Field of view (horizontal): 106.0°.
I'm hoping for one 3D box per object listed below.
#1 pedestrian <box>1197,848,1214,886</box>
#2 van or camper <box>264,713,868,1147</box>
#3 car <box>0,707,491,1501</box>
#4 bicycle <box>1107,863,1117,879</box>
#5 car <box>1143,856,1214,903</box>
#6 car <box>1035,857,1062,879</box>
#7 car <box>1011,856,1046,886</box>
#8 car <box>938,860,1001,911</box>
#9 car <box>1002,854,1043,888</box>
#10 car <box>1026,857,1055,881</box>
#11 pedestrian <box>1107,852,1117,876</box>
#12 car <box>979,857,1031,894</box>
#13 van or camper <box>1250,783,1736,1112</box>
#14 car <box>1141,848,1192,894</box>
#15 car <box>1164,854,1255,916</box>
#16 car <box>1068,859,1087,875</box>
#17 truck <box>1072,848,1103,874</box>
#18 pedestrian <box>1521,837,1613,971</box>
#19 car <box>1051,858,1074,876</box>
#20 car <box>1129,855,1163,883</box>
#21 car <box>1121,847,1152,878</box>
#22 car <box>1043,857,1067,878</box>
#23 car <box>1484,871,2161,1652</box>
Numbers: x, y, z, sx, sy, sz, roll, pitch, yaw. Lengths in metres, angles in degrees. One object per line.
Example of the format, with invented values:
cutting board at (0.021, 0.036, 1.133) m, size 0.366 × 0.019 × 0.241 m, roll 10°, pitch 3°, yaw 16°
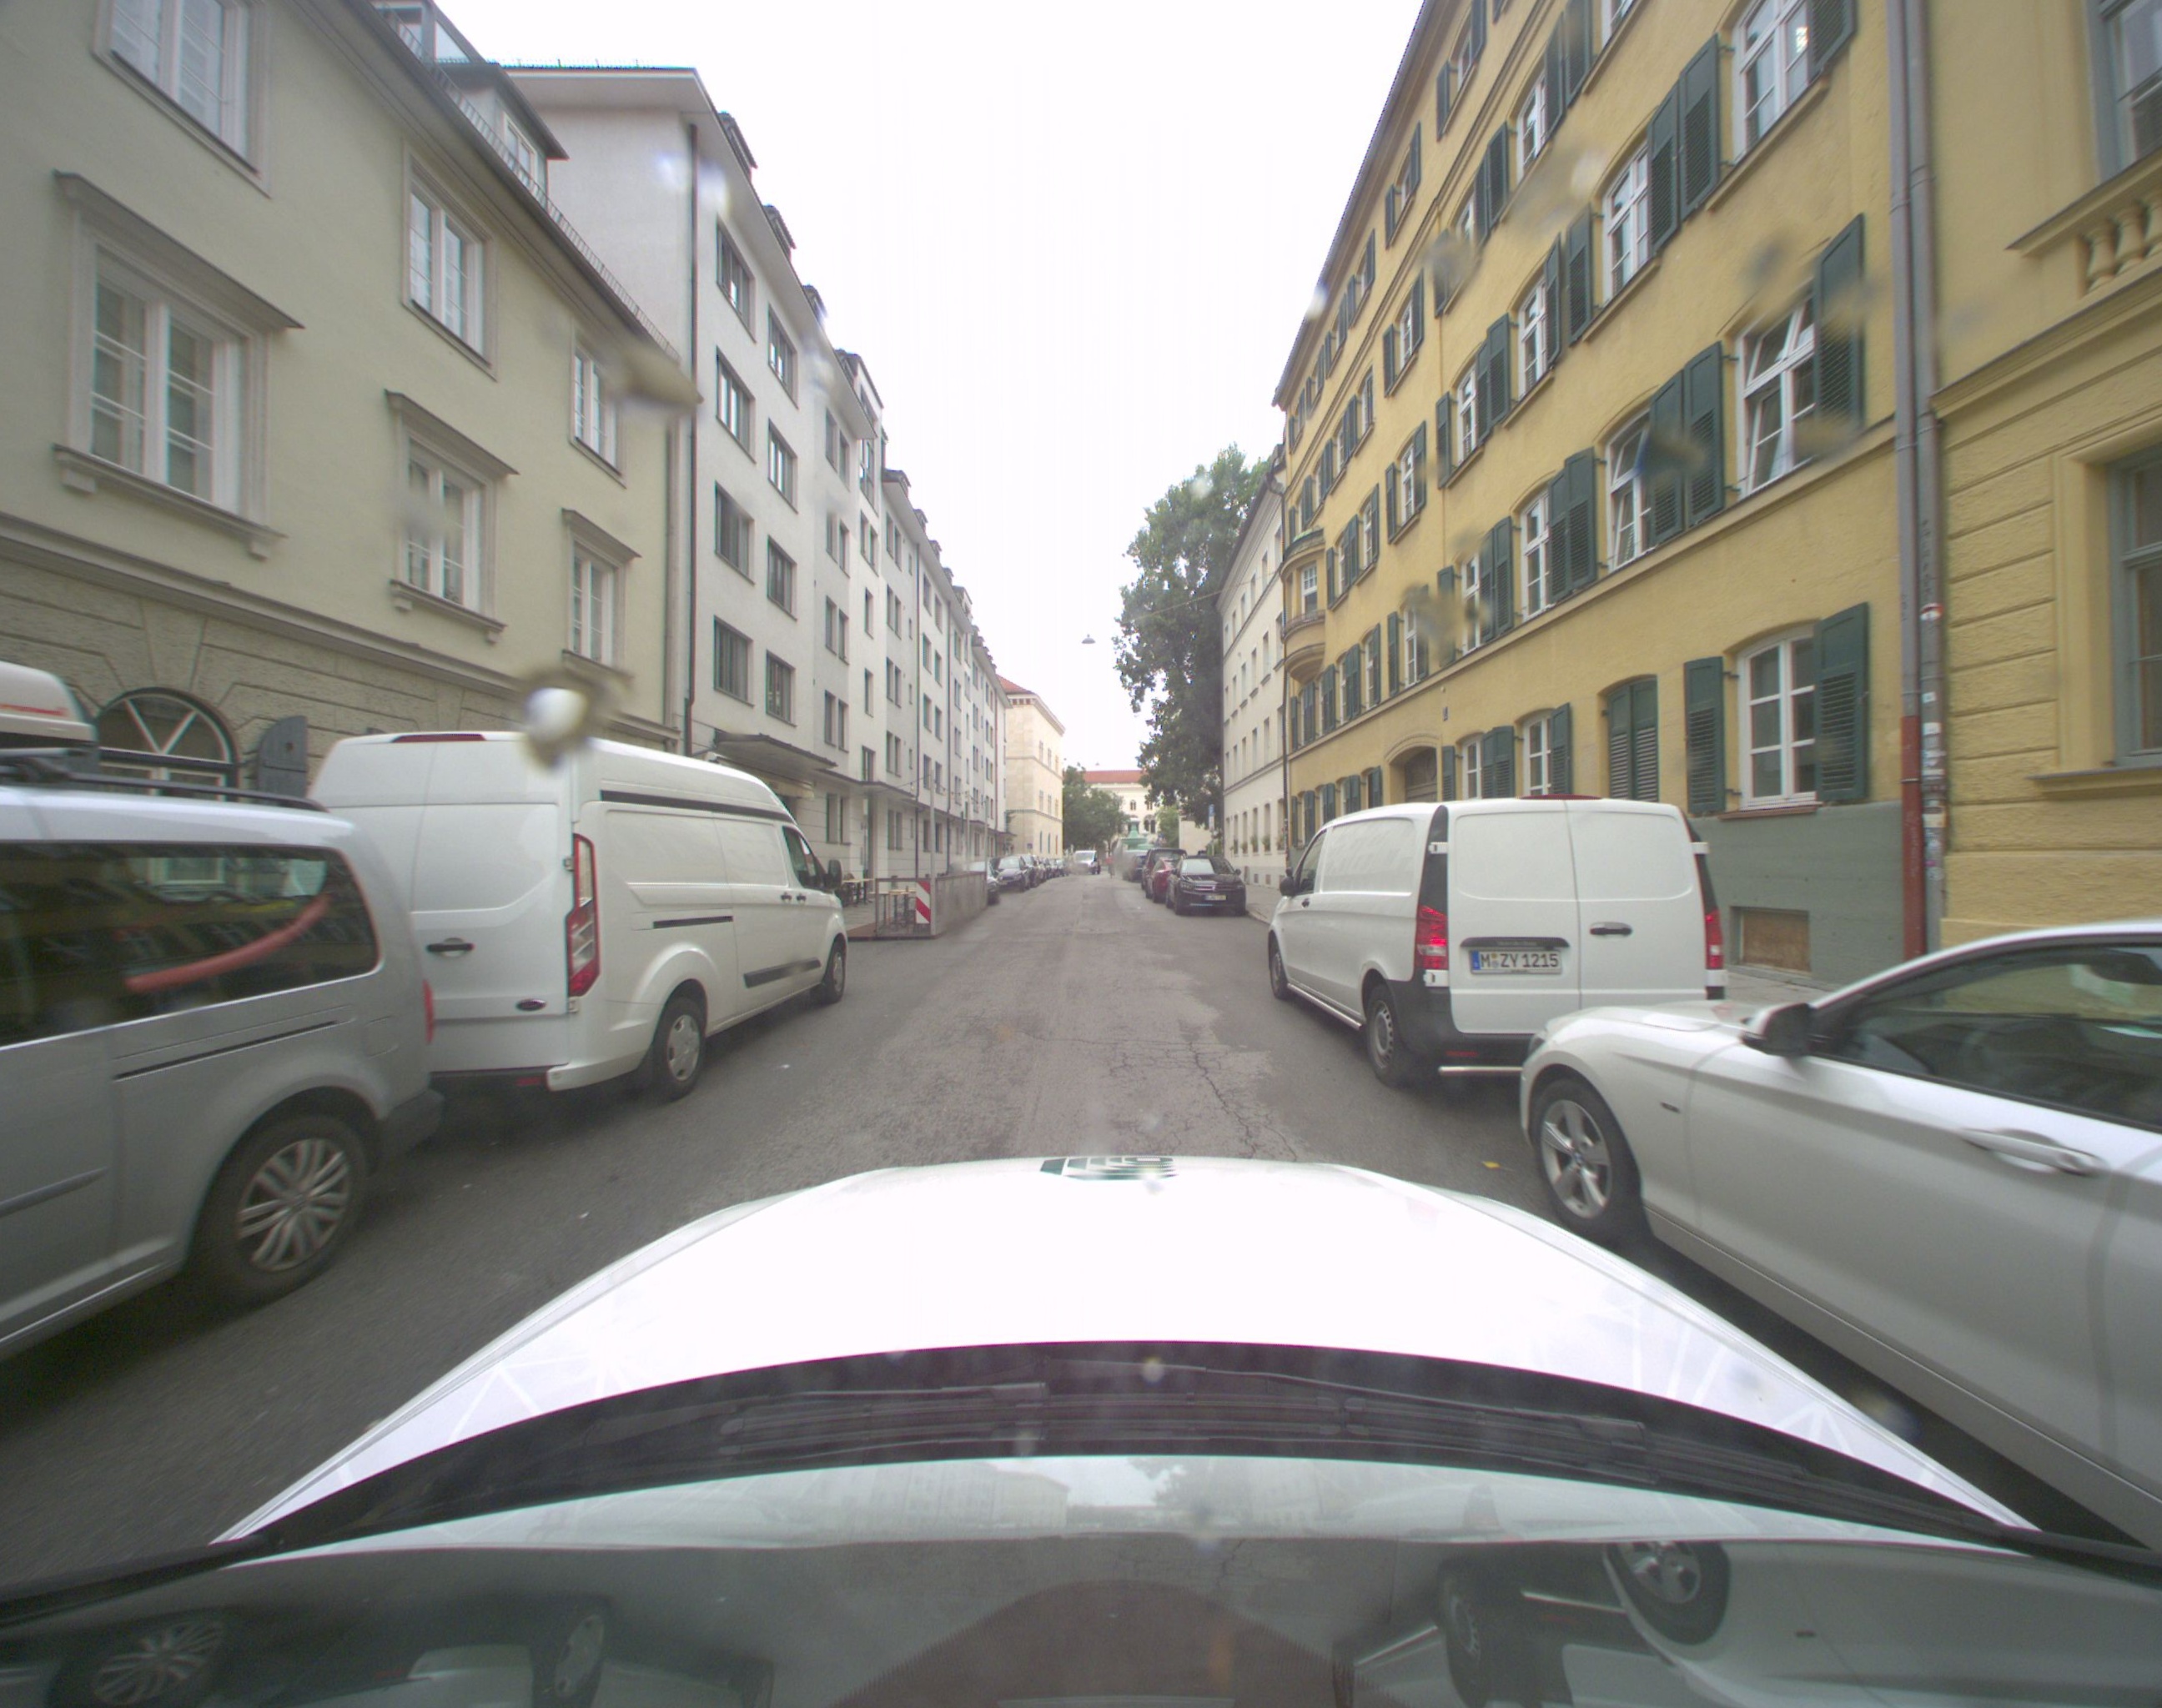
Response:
pedestrian at (6.677, 0.708, 43.729) m, size 0.667 × 1.980 × 0.709 m, roll -4°, pitch -2°, yaw 1°
van or camper at (-3.392, 0.411, 6.926) m, size 1.749 × 2.281 × 5.273 m, roll 0°, pitch 0°, yaw 0°
car at (-3.566, 0.626, 1.497) m, size 1.750 × 1.995 × 4.620 m, roll 0°, pitch 0°, yaw -3°
bicycle at (2.241, 1.222, 58.790) m, size 0.673 × 1.095 × 1.761 m, roll -1°, pitch -1°, yaw 2°
car at (3.151, 0.807, 27.029) m, size 1.806 × 1.425 × 4.245 m, roll 1°, pitch -1°, yaw 0°
car at (-2.489, 1.090, 63.607) m, size 1.699 × 1.609 × 3.866 m, roll -1°, pitch 0°, yaw 3°
car at (-2.987, 0.952, 46.889) m, size 1.701 × 1.609 × 3.862 m, roll -1°, pitch 0°, yaw 0°
car at (-3.393, 0.916, 25.310) m, size 1.760 × 1.410 × 4.146 m, roll -1°, pitch 0°, yaw -6°
car at (-2.876, 0.828, 40.743) m, size 1.701 × 1.609 × 3.862 m, roll -1°, pitch 0°, yaw 0°
car at (-2.858, 1.027, 58.053) m, size 1.699 × 1.609 × 3.865 m, roll -1°, pitch 0°, yaw 3°
pedestrian at (2.235, 0.723, 58.741) m, size 0.639 × 1.714 × 0.843 m, roll -1°, pitch -2°, yaw 2°
car at (-3.192, 0.883, 35.005) m, size 1.812 × 1.444 × 3.818 m, roll -1°, pitch 0°, yaw 0°
van or camper at (2.874, 0.545, 7.185) m, size 1.827 × 1.872 × 5.080 m, roll 0°, pitch 0°, yaw 1°
car at (3.508, 0.682, 34.103) m, size 1.805 × 1.797 × 4.248 m, roll 1°, pitch -1°, yaw 2°
car at (3.300, 0.760, 21.672) m, size 1.805 × 1.465 × 4.247 m, roll 1°, pitch -1°, yaw 1°
car at (-0.332, 1.281, 83.241) m, size 1.699 × 1.581 × 3.867 m, roll -2°, pitch 0°, yaw 4°
truck at (0.657, 0.669, 75.509) m, size 2.109 × 2.247 × 6.198 m, roll -1°, pitch -1°, yaw 8°
pedestrian at (6.023, 0.611, 10.131) m, size 0.658 × 1.571 × 0.642 m, roll -3°, pitch -2°, yaw 0°
car at (-1.703, 1.209, 74.670) m, size 1.699 × 1.581 × 3.867 m, roll -2°, pitch 0°, yaw 4°
car at (3.789, 0.866, 48.078) m, size 1.805 × 1.614 × 4.157 m, roll -1°, pitch -1°, yaw 2°
car at (3.650, 0.577, 53.994) m, size 1.845 × 1.919 × 4.771 m, roll -1°, pitch -1°, yaw 2°
car at (-2.155, 1.122, 68.420) m, size 1.699 × 1.609 × 3.866 m, roll -2°, pitch 0°, yaw 3°
car at (2.828, 0.768, 1.855) m, size 1.703 × 1.392 × 4.204 m, roll 0°, pitch 0°, yaw -1°
